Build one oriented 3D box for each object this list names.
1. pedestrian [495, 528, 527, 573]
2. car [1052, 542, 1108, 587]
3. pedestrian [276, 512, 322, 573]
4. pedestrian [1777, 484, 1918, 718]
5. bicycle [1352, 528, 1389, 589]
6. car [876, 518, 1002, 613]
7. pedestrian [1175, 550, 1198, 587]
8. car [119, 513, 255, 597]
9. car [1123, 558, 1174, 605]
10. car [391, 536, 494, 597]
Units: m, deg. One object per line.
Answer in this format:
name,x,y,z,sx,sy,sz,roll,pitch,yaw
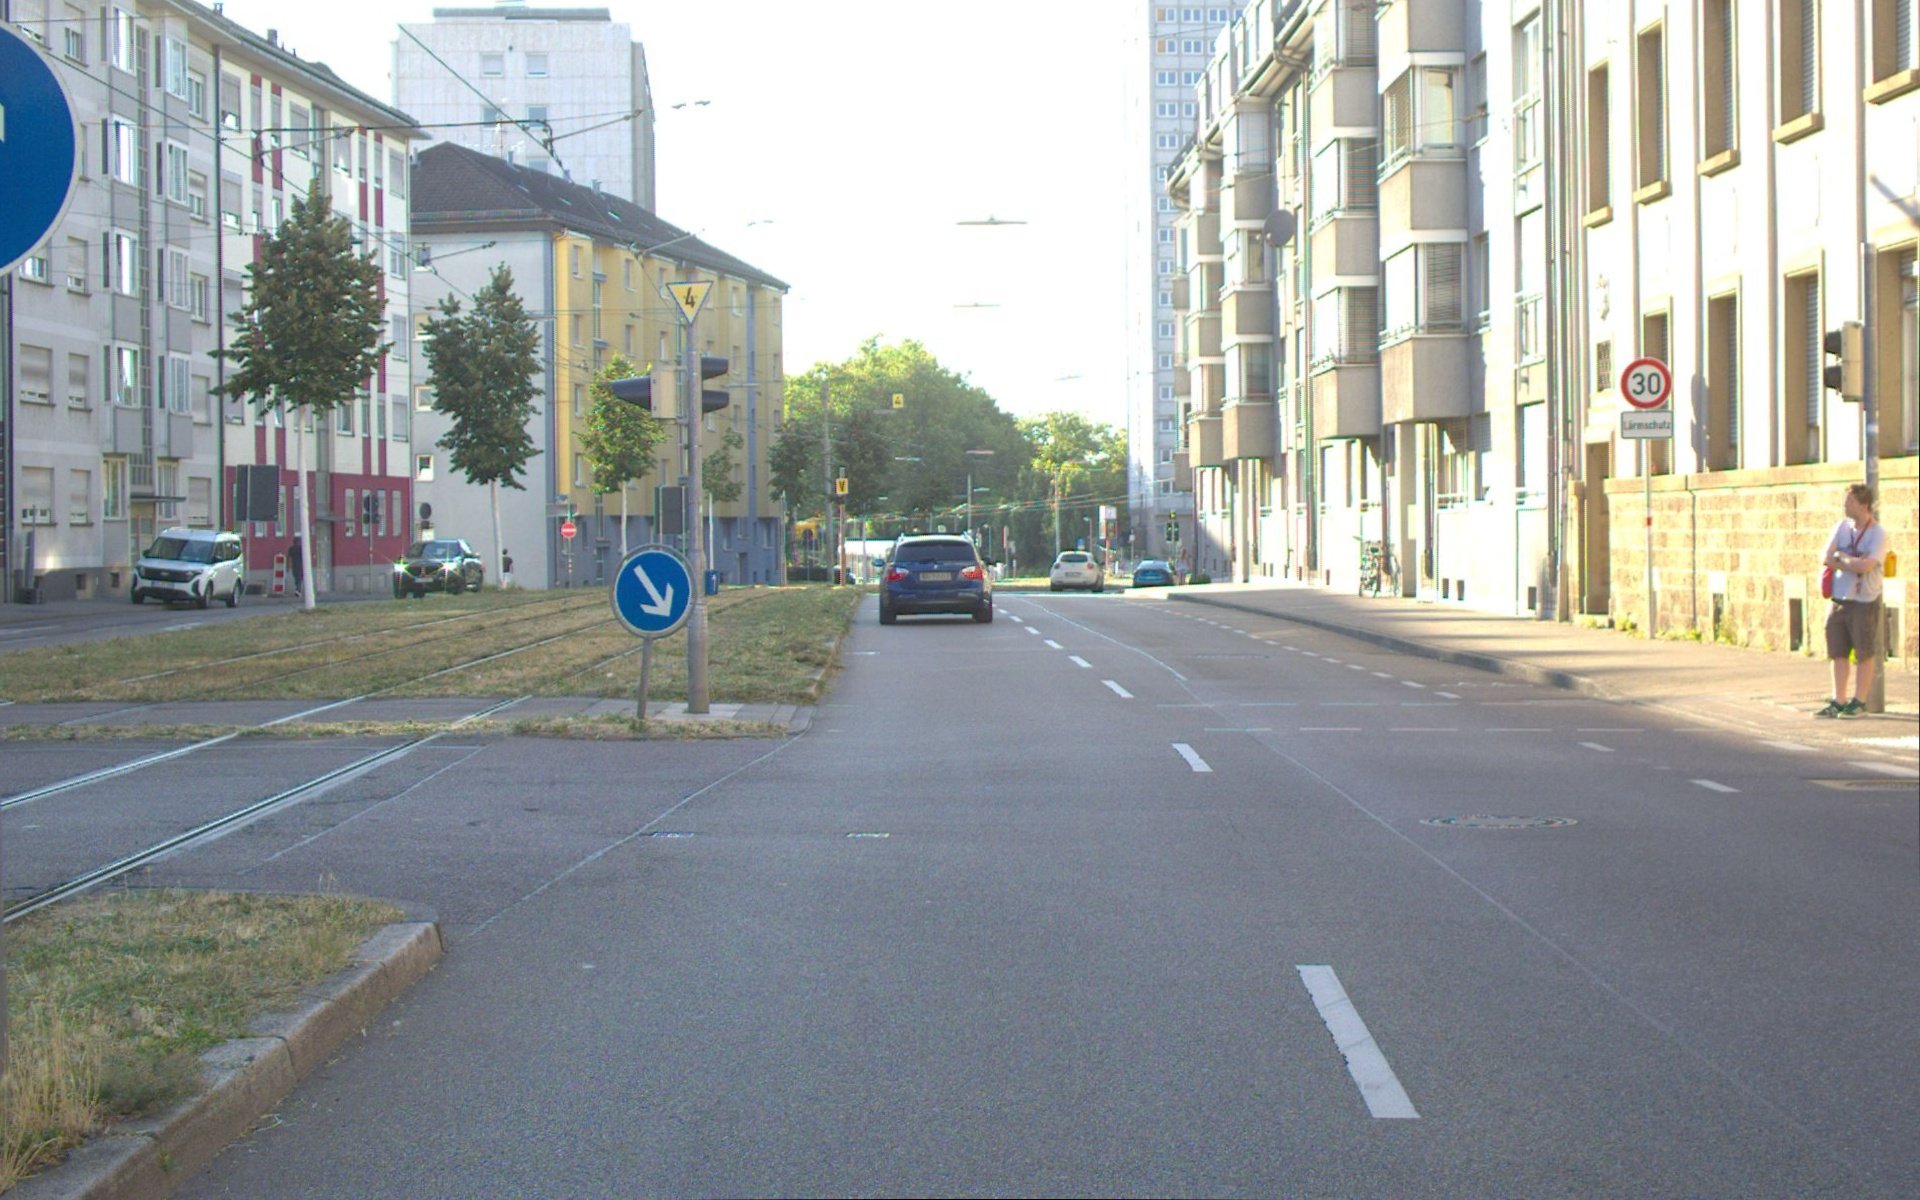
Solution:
pedestrian,-16.696,-1.826,127.900,0.962,1.664,1.011,1,0,5
car,4.349,-1.284,124.963,1.993,1.558,4.000,1,1,2
pedestrian,-19.424,-1.681,101.045,1.269,1.755,1.274,1,0,-10
pedestrian,6.803,0.003,26.380,0.835,1.756,0.824,1,0,-1
bicycle,7.408,-0.748,62.085,0.383,1.092,1.504,-1,1,-3
car,-0.375,-0.553,55.560,1.926,1.451,4.328,1,1,-2
pedestrian,7.559,-1.063,114.847,0.691,1.230,0.736,1,0,-1
car,-18.327,-1.053,81.690,1.994,1.918,4.541,1,1,3
car,8.461,-0.844,154.541,1.993,2.007,4.000,-1,1,-1
car,-14.423,-0.950,96.067,1.897,1.628,4.747,-1,1,3
